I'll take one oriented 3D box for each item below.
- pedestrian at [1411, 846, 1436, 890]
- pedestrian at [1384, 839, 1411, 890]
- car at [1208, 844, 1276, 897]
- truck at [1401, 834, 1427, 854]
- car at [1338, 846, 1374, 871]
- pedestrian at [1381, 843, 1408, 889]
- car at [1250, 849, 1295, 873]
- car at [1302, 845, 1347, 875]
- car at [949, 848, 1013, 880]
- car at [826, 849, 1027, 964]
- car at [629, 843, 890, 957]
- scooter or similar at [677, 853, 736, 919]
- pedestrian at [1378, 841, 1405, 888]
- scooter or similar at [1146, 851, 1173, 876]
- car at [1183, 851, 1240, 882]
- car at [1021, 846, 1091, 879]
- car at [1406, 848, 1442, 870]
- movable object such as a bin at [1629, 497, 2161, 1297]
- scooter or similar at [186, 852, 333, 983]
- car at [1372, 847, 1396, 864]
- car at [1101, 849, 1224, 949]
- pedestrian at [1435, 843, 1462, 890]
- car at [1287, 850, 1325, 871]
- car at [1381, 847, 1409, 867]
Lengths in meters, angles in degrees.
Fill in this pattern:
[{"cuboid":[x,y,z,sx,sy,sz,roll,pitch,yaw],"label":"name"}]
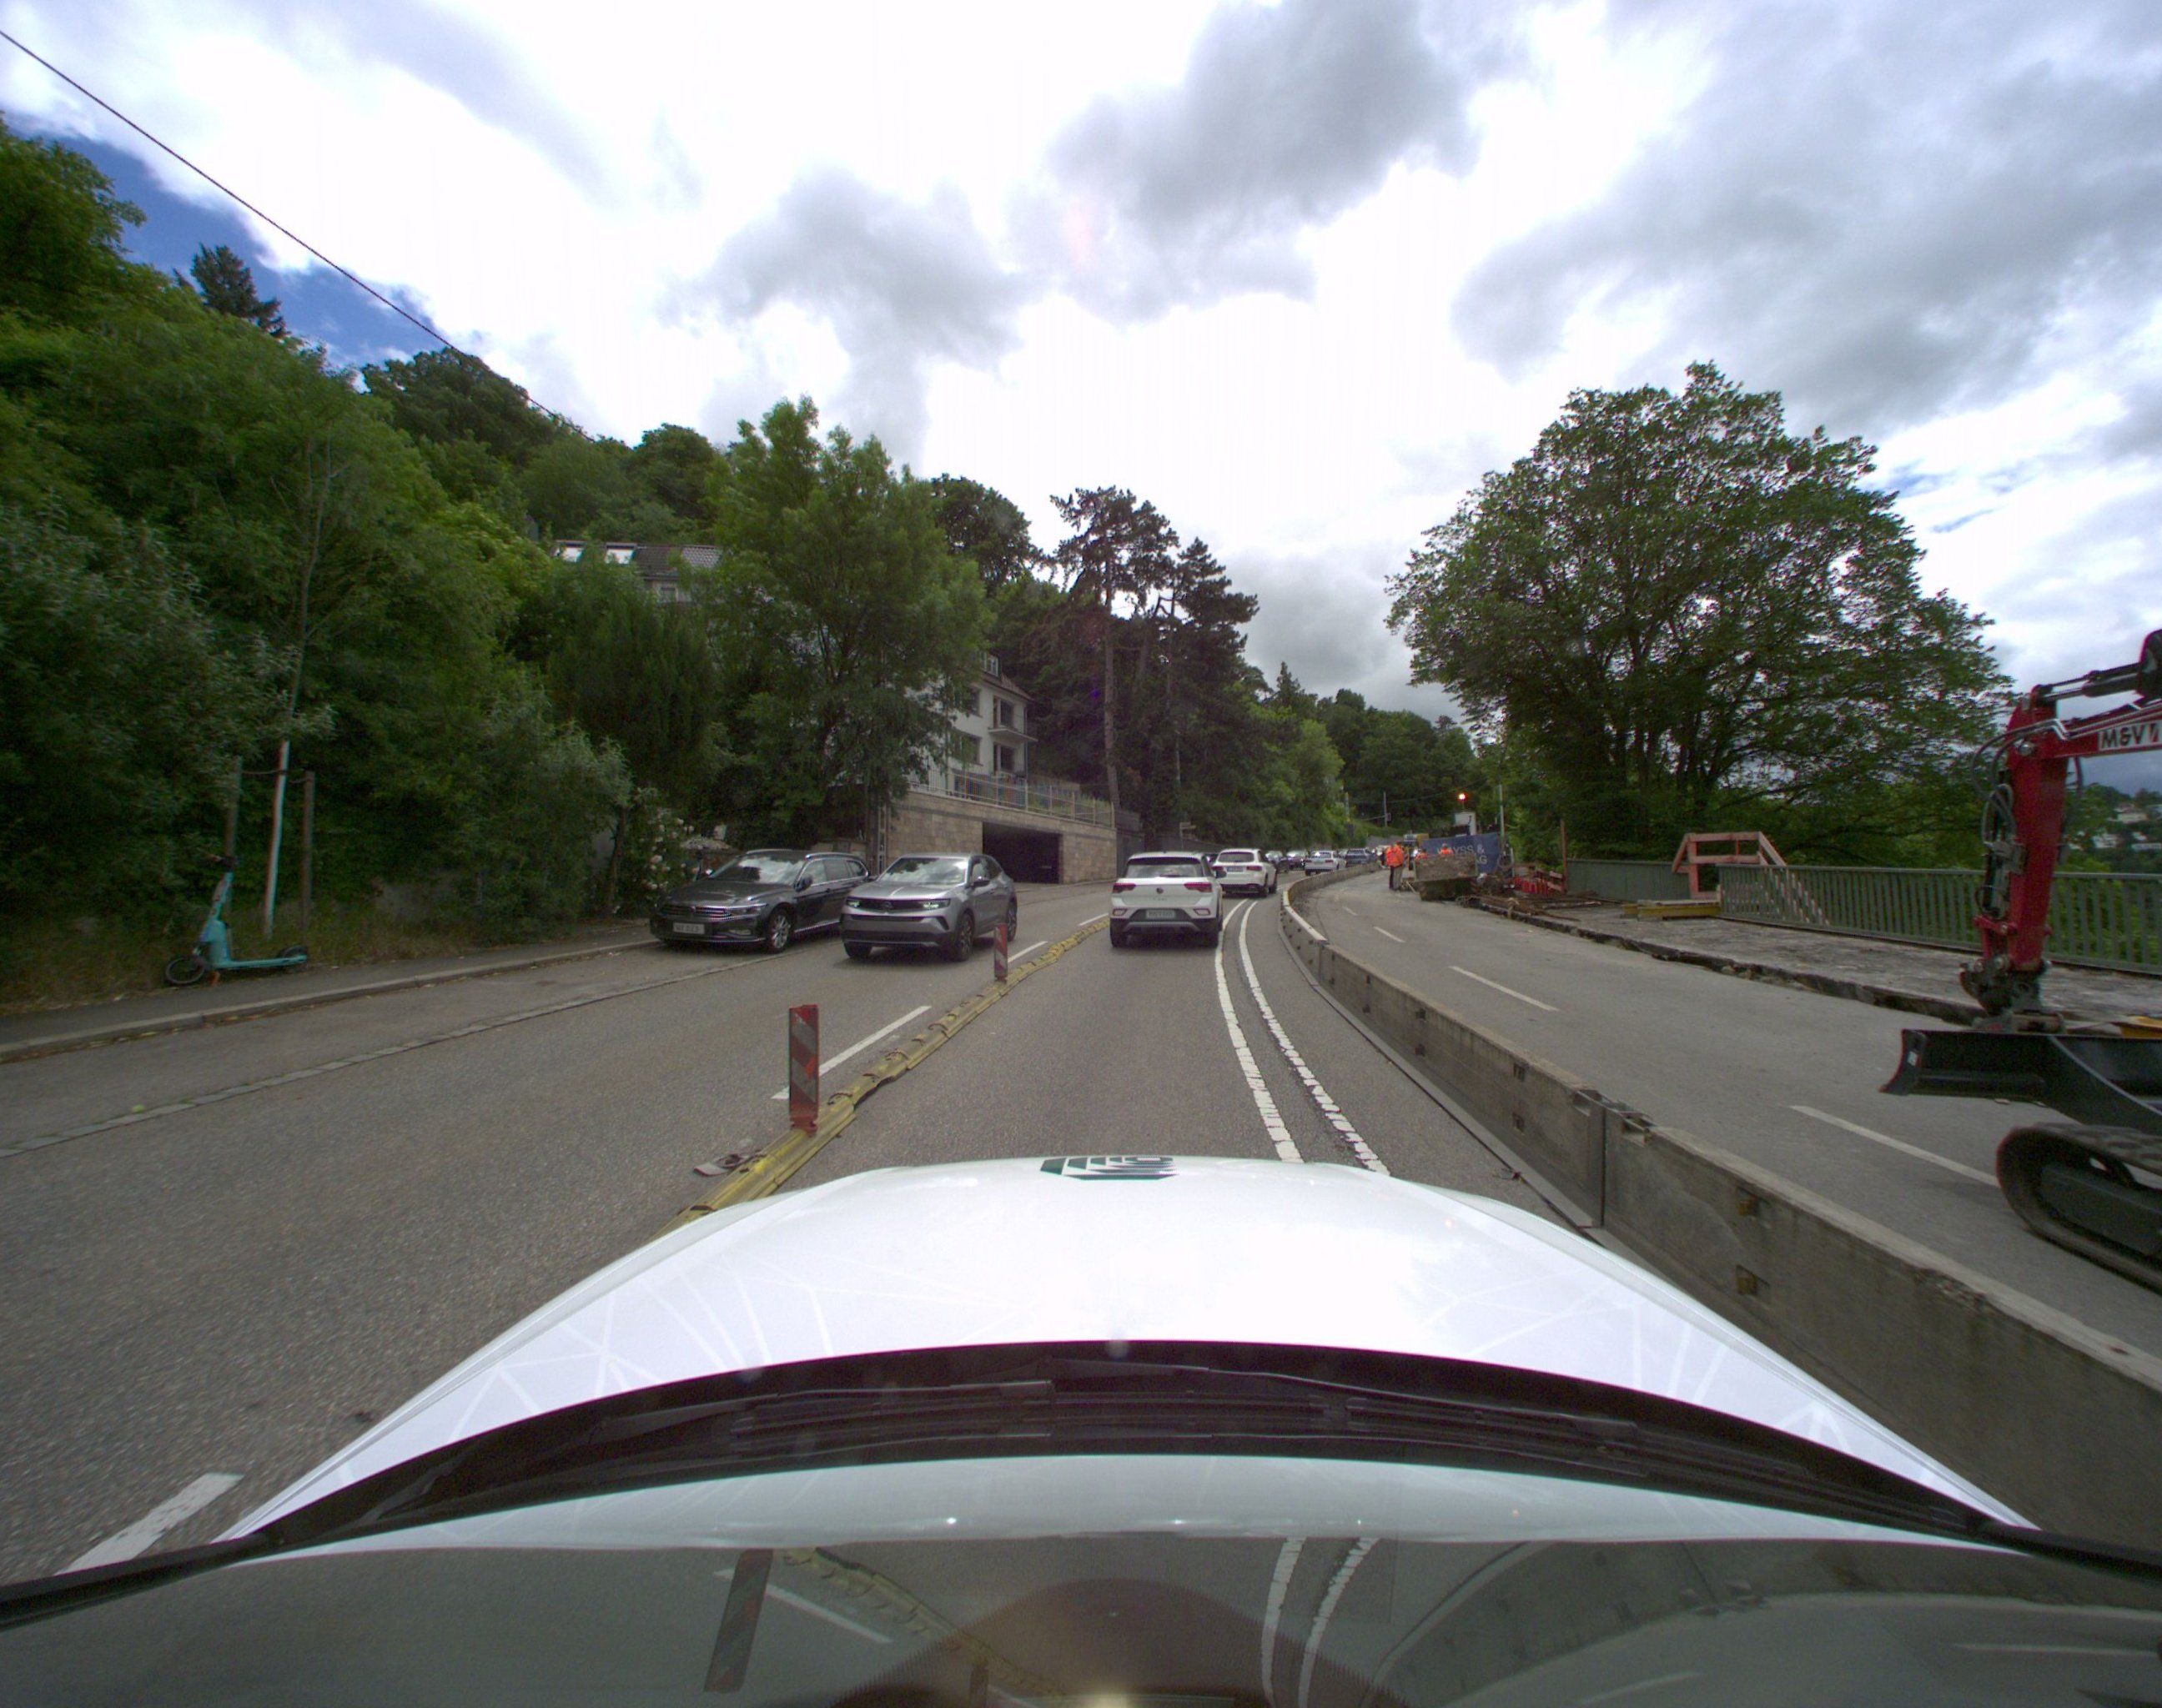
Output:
[{"cuboid":[12.784,0.507,30.390,0.775,1.608,0.671,-1,0,30],"label":"pedestrian"},{"cuboid":[11.889,0.387,30.597,0.687,1.906,0.826,-1,0,2],"label":"pedestrian"},{"cuboid":[5.657,0.531,28.232,1.795,1.663,4.019,-2,0,18],"label":"car"},{"cuboid":[53.758,-1.540,131.382,2.876,3.155,7.630,-1,-1,29],"label":"truck"},{"cuboid":[19.904,0.298,58.806,1.793,1.663,4.024,-2,0,27],"label":"car"},{"cuboid":[12.211,0.465,31.716,0.869,1.731,0.882,-1,0,14],"label":"pedestrian"},{"cuboid":[12.209,0.386,51.750,1.751,1.435,4.335,1,1,28],"label":"car"},{"cuboid":[14.416,0.310,48.049,1.793,1.663,4.024,-2,0,27],"label":"car"},{"cuboid":[-4.719,0.508,38.866,1.757,1.419,3.560,0,-2,16],"label":"car"},{"cuboid":[-2.230,0.688,12.937,1.756,1.518,4.037,0,0,11],"label":"car"},{"cuboid":[-4.911,0.623,13.333,1.725,1.451,4.696,3,0,10],"label":"car"},{"cuboid":[-7.369,0.613,16.056,0.413,1.232,1.125,2,0,13],"label":"scooter or similar"},{"cuboid":[12.434,0.411,32.613,0.869,1.822,0.882,-1,0,14],"label":"pedestrian"},{"cuboid":[3.982,0.475,41.273,1.304,1.255,0.467,0,0,-1],"label":"scooter or similar"},{"cuboid":[6.500,0.598,40.208,1.752,1.435,4.332,-1,0,23],"label":"car"},{"cuboid":[-1.109,0.446,38.292,1.766,1.453,3.723,0,-2,25],"label":"car"},{"cuboid":[22.676,0.320,53.795,1.777,1.368,4.024,-1,0,28],"label":"car"},{"cuboid":[4.851,0.143,3.570,2.199,2.663,4.957,0,0,9],"label":"movable object such as a bin"},{"cuboid":[-8.225,0.598,8.198,0.348,1.213,1.046,2,0,2],"label":"scooter or similar"},{"cuboid":[31.080,0.124,83.427,1.793,1.663,4.024,-2,0,27],"label":"car"},{"cuboid":[1.603,0.690,14.613,1.798,1.531,4.013,0,0,11],"label":"car"},{"cuboid":[13.415,0.463,29.730,0.775,1.688,0.790,-1,0,30],"label":"pedestrian"},{"cuboid":[16.299,0.421,58.937,1.751,1.452,4.335,1,1,28],"label":"car"},{"cuboid":[27.171,0.264,70.417,1.793,1.663,4.024,-2,0,27],"label":"car"}]
